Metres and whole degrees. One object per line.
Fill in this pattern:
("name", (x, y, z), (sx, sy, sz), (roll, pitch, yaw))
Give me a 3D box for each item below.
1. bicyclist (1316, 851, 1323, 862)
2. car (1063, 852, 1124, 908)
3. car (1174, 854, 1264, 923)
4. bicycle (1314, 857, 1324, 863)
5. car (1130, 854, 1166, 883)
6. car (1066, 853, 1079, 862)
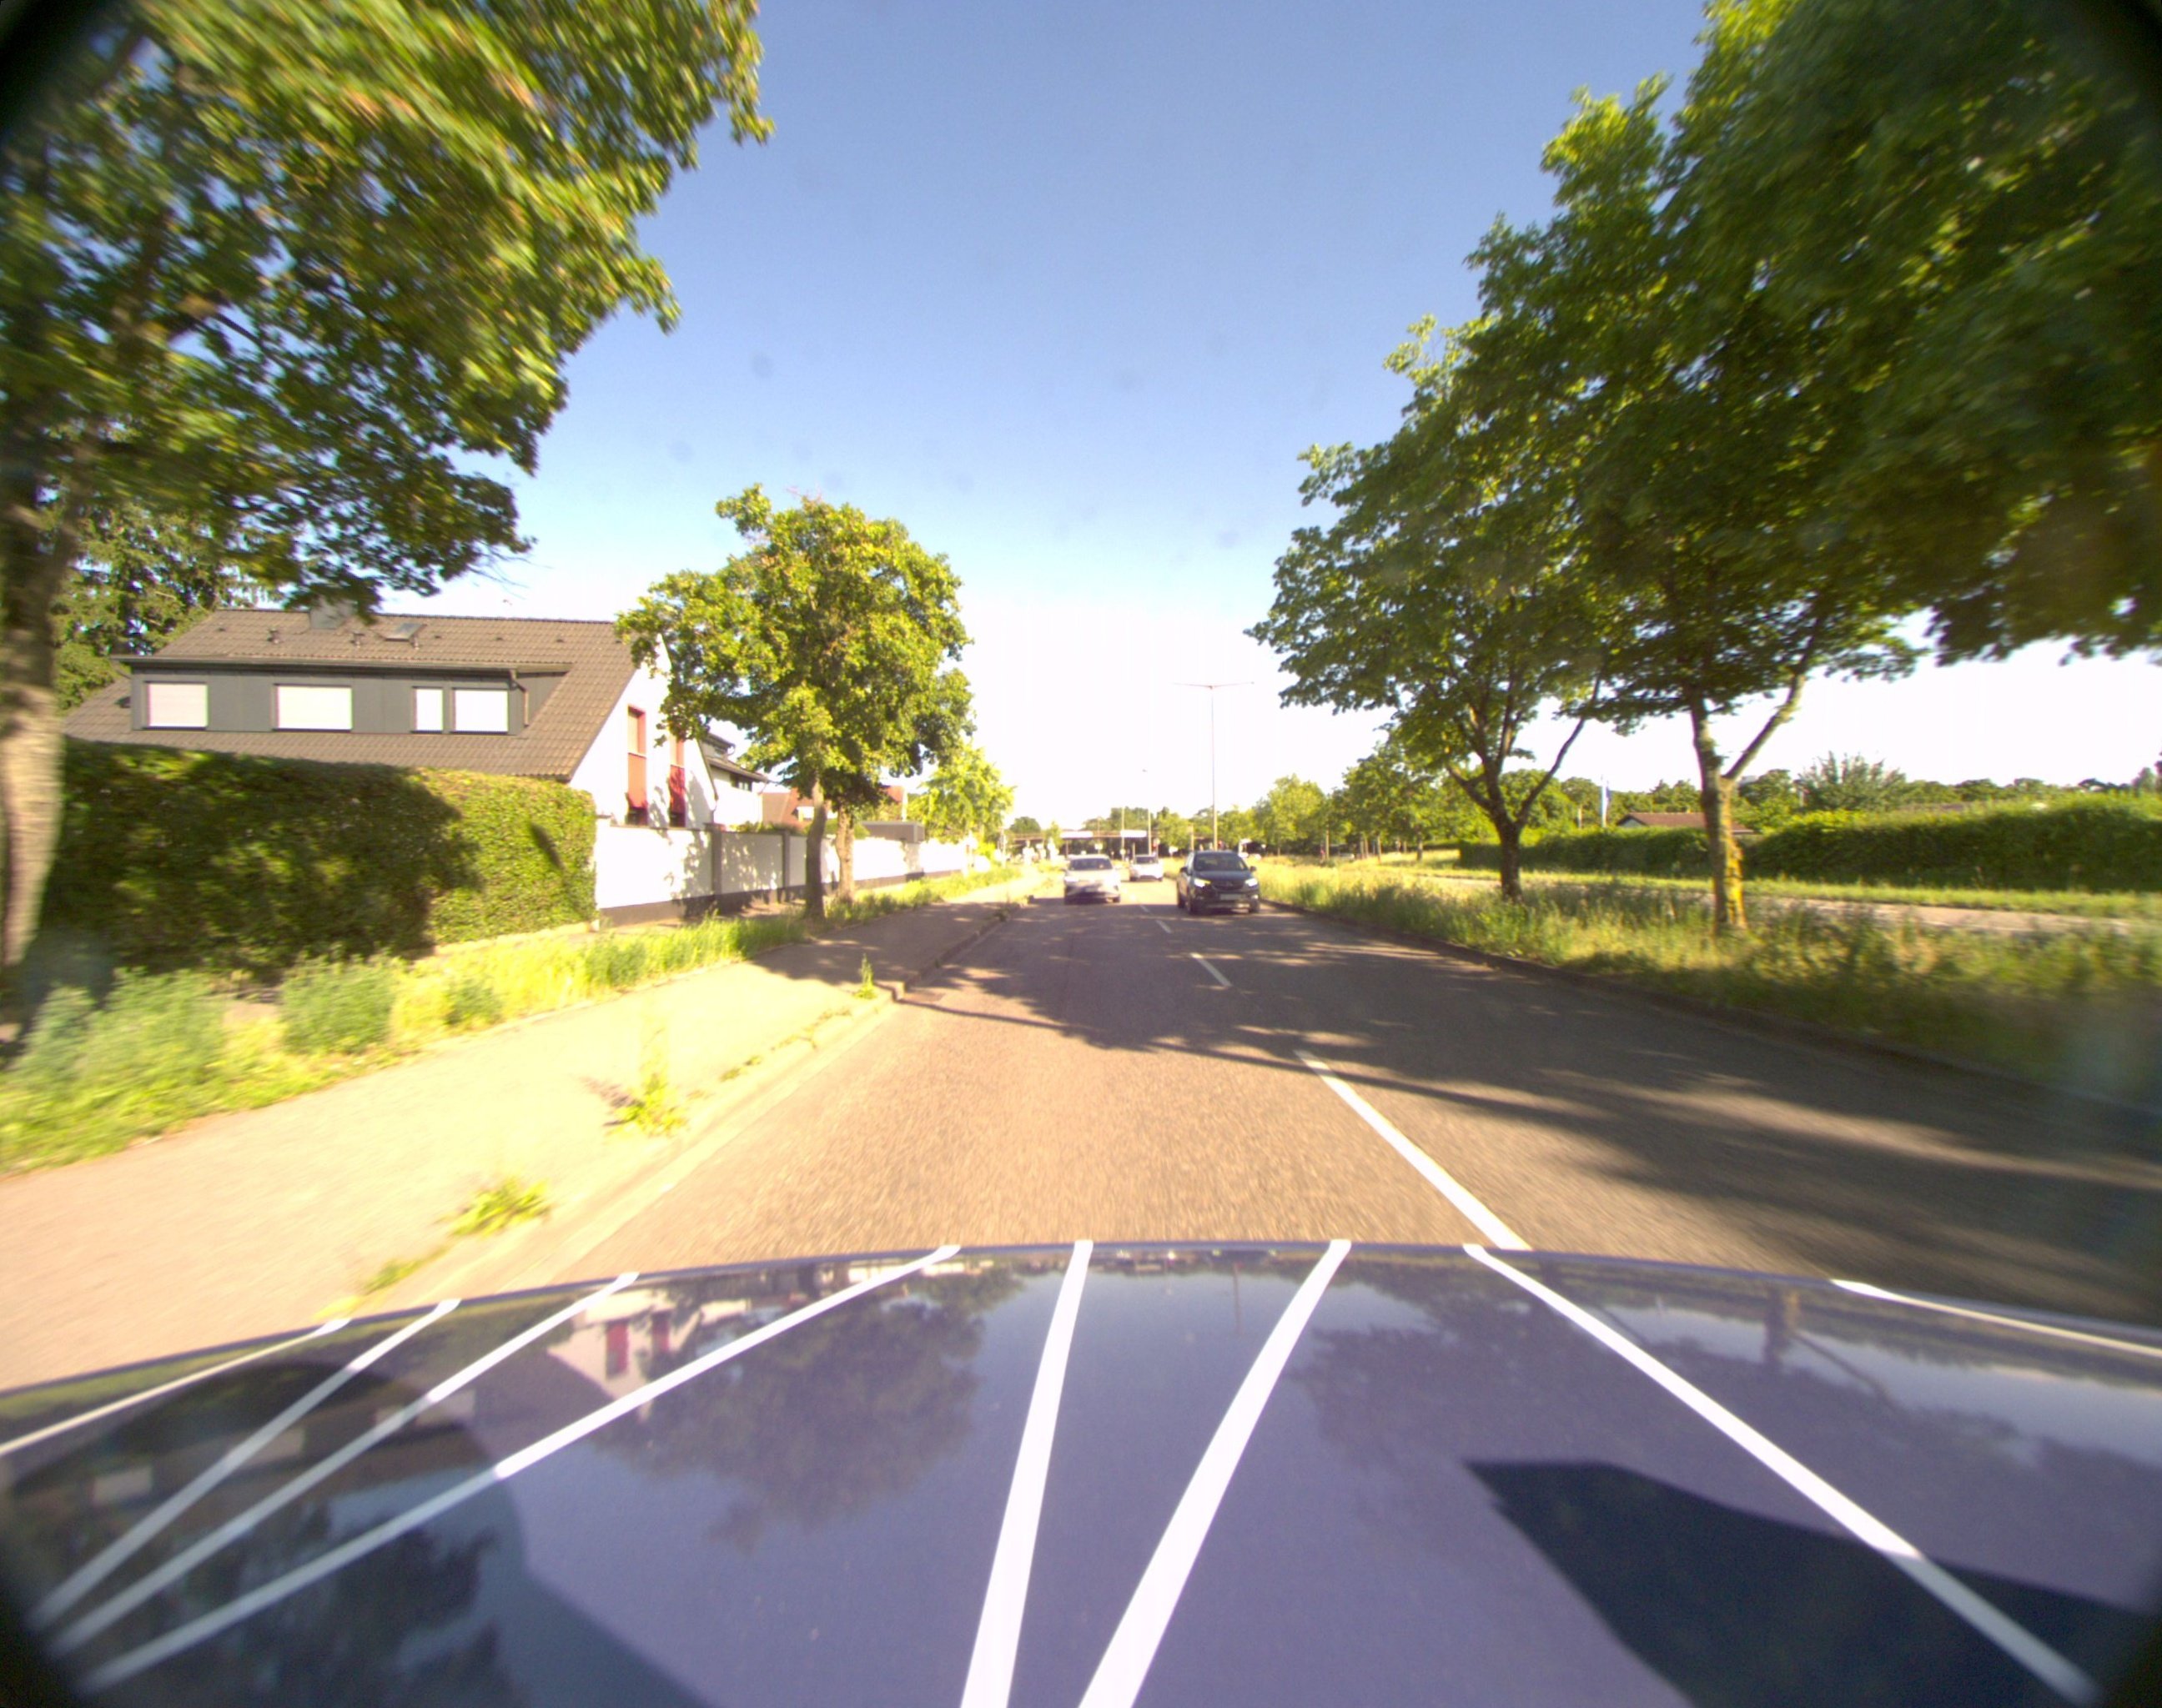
("bicyclist", (26.699, 0.265, 85.210), (0.584, 1.249, 0.576), (-1, 0, 1))
("car", (0.424, 0.808, 24.970), (1.801, 1.664, 4.240), (-1, -1, 2))
("car", (3.577, 0.843, 20.316), (1.714, 1.653, 3.856), (0, 0, 1))
("bicycle", (26.670, 0.687, 85.132), (0.566, 0.691, 1.875), (-1, 0, 3))
("car", (3.948, 0.814, 45.362), (1.830, 1.604, 4.092), (-1, 0, 1))
("car", (-1.619, 0.702, 143.606), (1.874, 1.611, 3.833), (-1, 0, -8))
